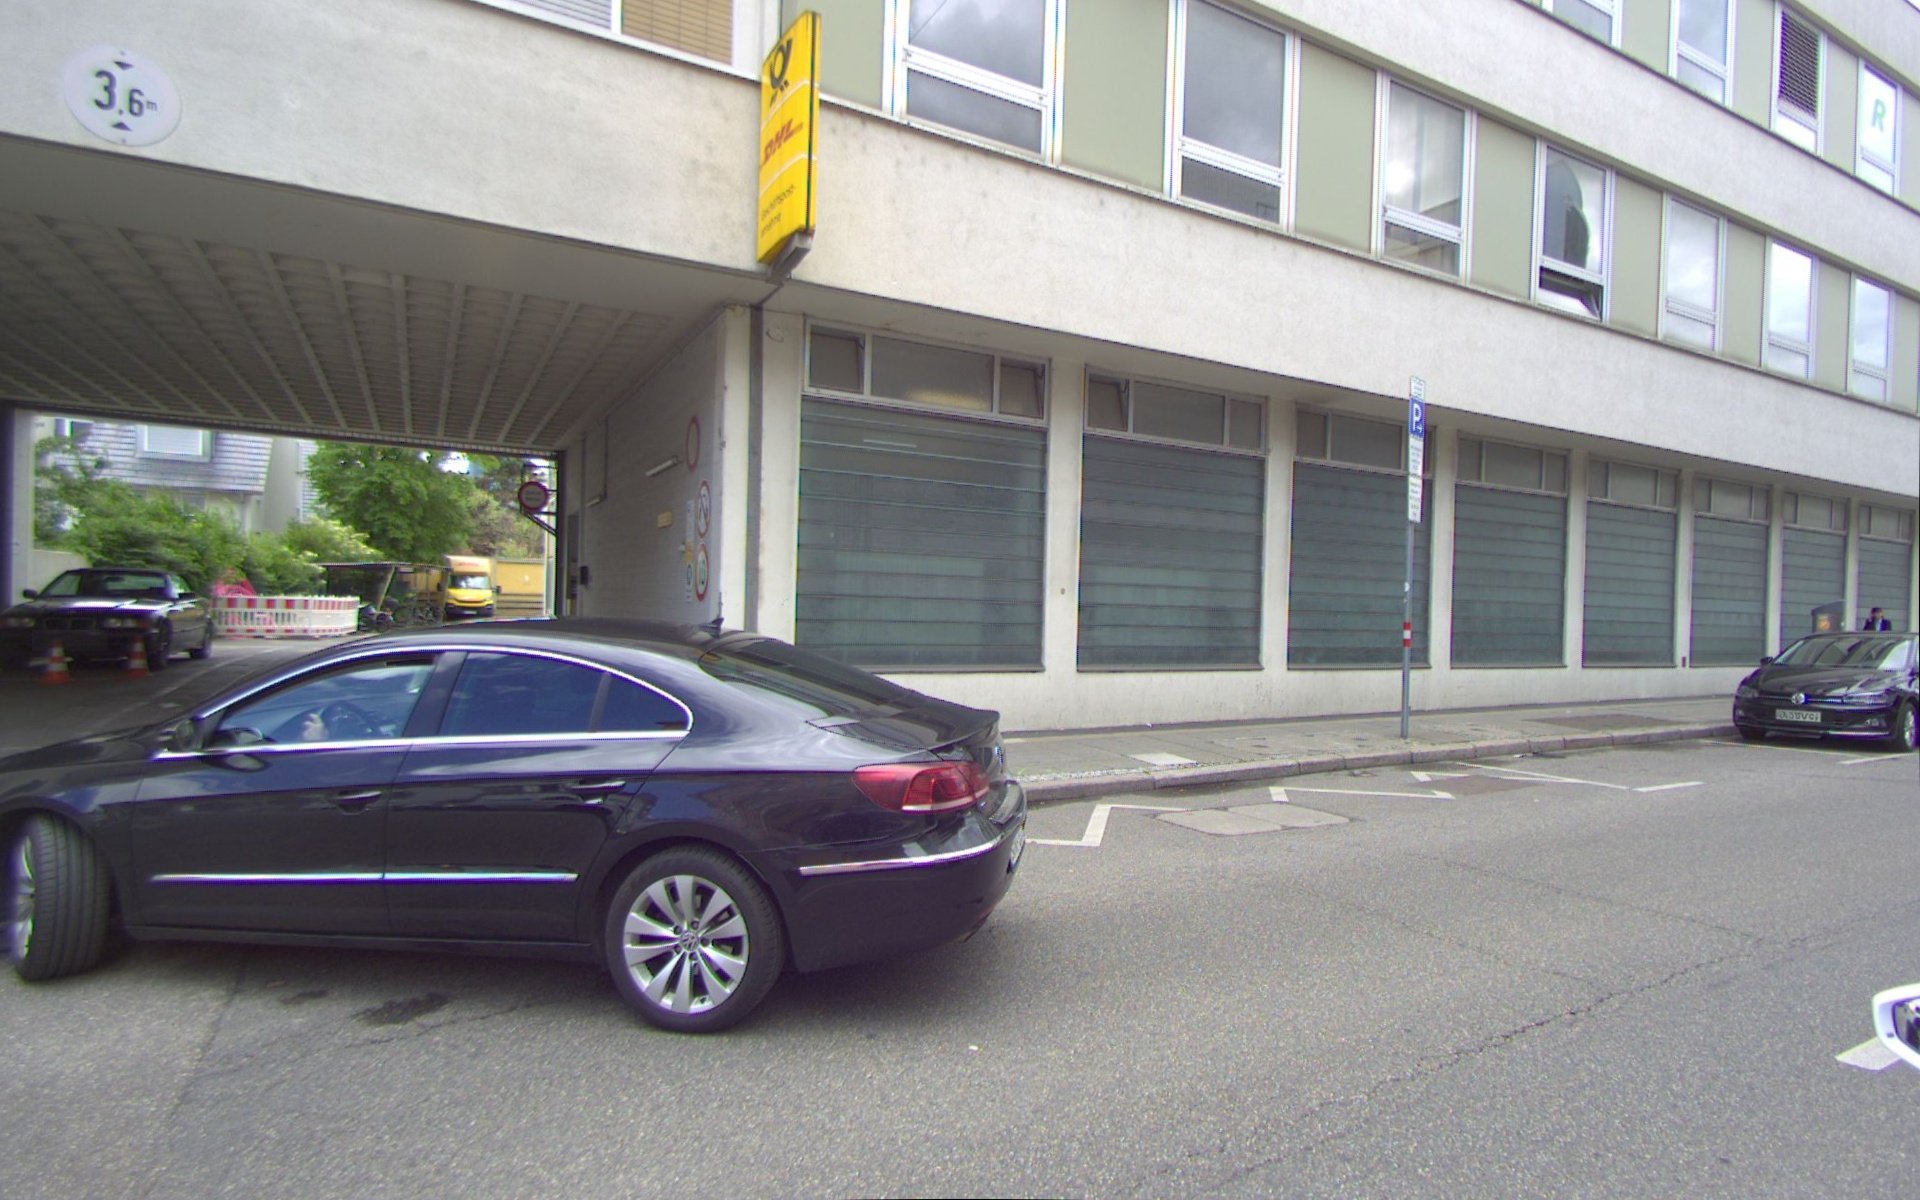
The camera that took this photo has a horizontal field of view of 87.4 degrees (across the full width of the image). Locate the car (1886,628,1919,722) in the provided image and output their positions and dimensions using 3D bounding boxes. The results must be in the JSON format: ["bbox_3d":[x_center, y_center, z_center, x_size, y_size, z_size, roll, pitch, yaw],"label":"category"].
[{"bbox_3d":[16.874,1.184,15.980,4.209,1.444,1.809,1,-1,-27],"label":"car"}]

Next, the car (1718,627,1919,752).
[{"bbox_3d":[11.935,1.087,13.324,3.826,1.444,1.708,1,-2,-31],"label":"car"}]

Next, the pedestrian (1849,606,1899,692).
[{"bbox_3d":[18.975,1.010,20.863,0.642,1.741,0.586,1,0,-30],"label":"pedestrian"}]

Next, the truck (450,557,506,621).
[{"bbox_3d":[-22.921,-0.556,47.942,1.971,2.789,7.255,1,1,-23],"label":"truck"}]

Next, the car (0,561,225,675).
[{"bbox_3d":[-11.777,0.199,14.176,1.604,1.341,4.421,2,0,-28],"label":"car"}]

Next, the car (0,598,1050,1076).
[{"bbox_3d":[-1.869,0.765,4.391,4.363,1.417,1.658,2,0,9],"label":"car"}]
